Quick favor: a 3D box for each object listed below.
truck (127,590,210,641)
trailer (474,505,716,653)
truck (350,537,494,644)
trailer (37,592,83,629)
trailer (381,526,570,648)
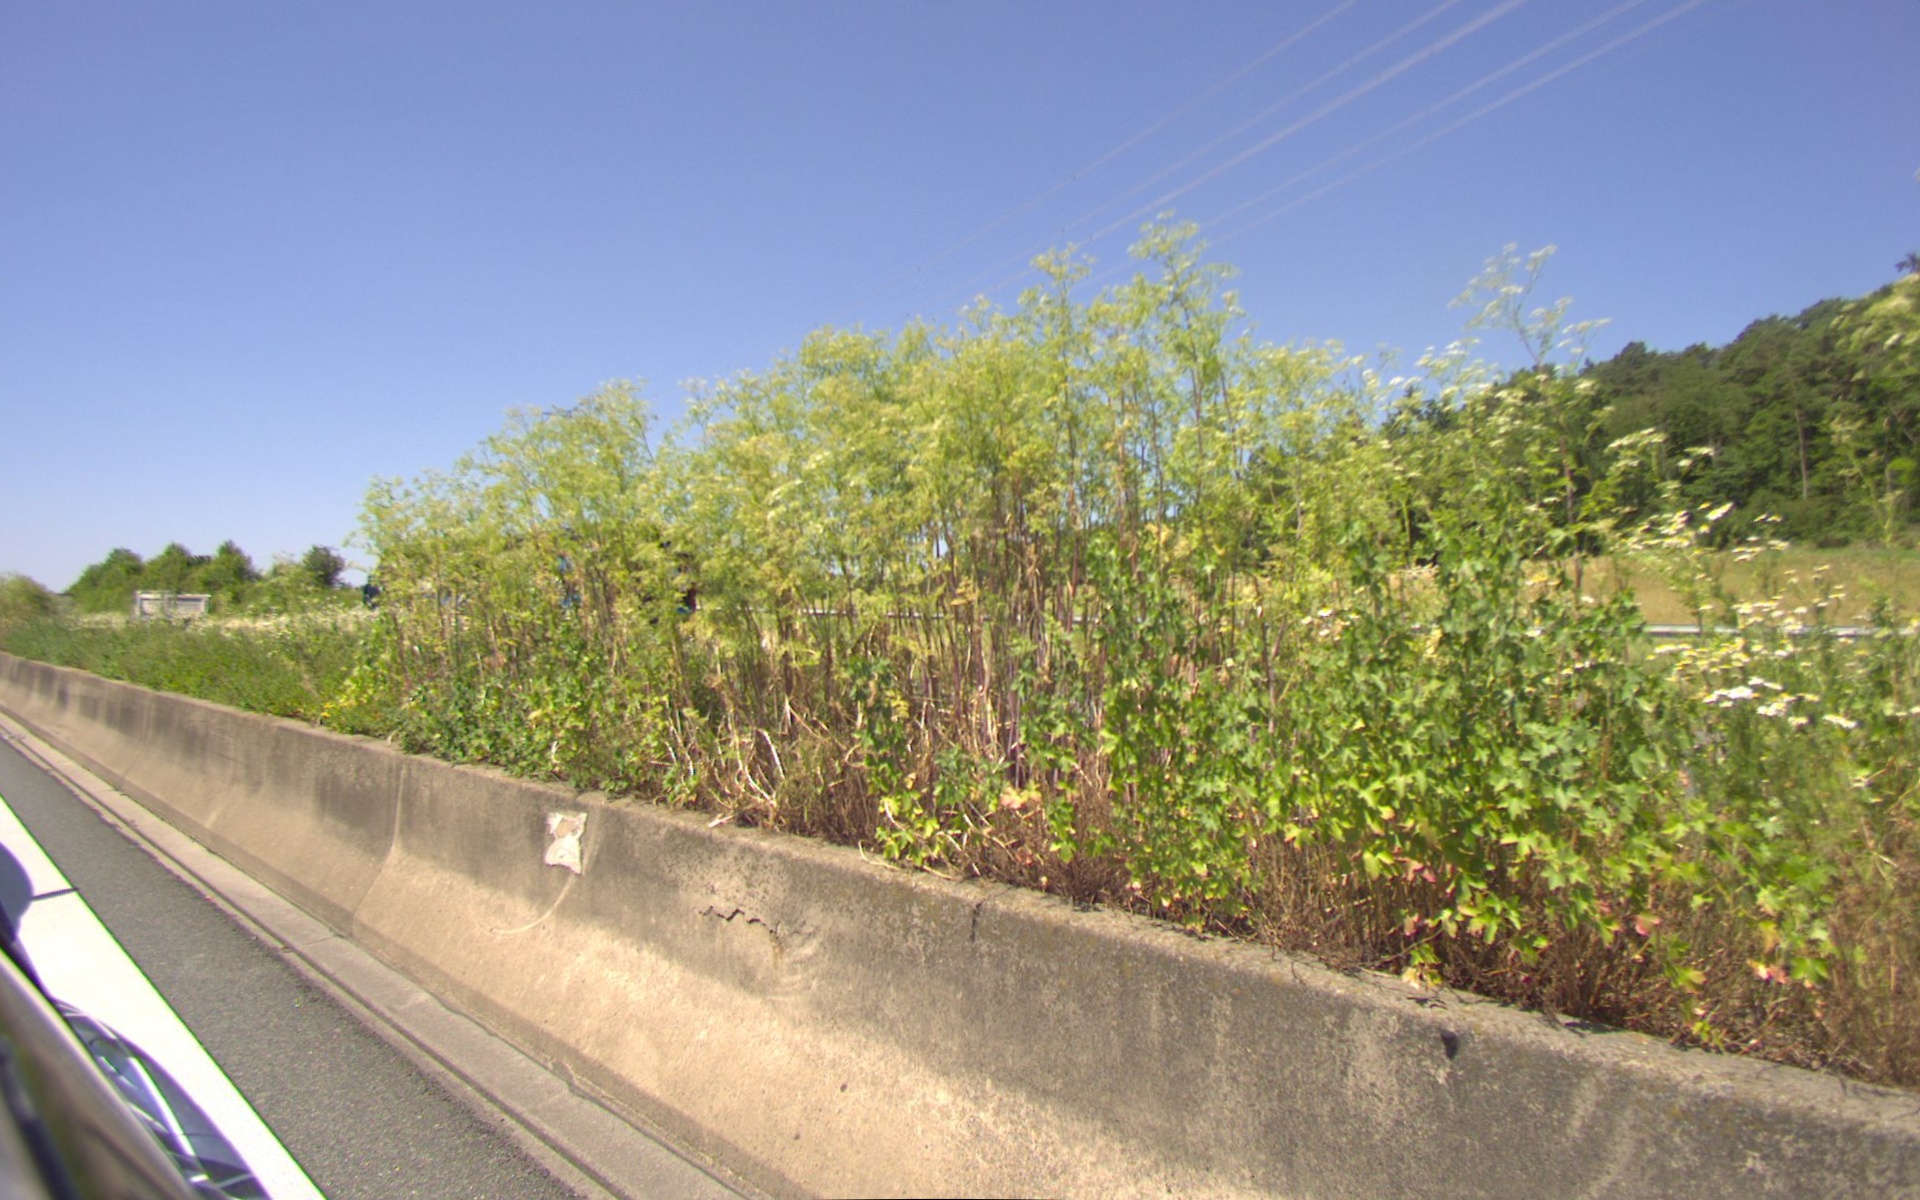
[{"bbox_3d":[-55.283,1.068,70.559,11.819,3.313,2.735,-1,-1,43],"label":"truck"},{"bbox_3d":[-10.909,-0.460,29.734,8.197,3.790,3.149,-1,-2,42],"label":"trailer"},{"bbox_3d":[-20.243,-0.280,37.995,5.460,3.738,3.039,-1,-1,41],"label":"truck"},{"bbox_3d":[-108.092,1.254,121.475,10.980,4.260,2.979,-1,-1,43],"label":"trailer"},{"bbox_3d":[-16.915,-0.346,35.062,7.866,3.787,3.092,-1,-1,41],"label":"trailer"}]
